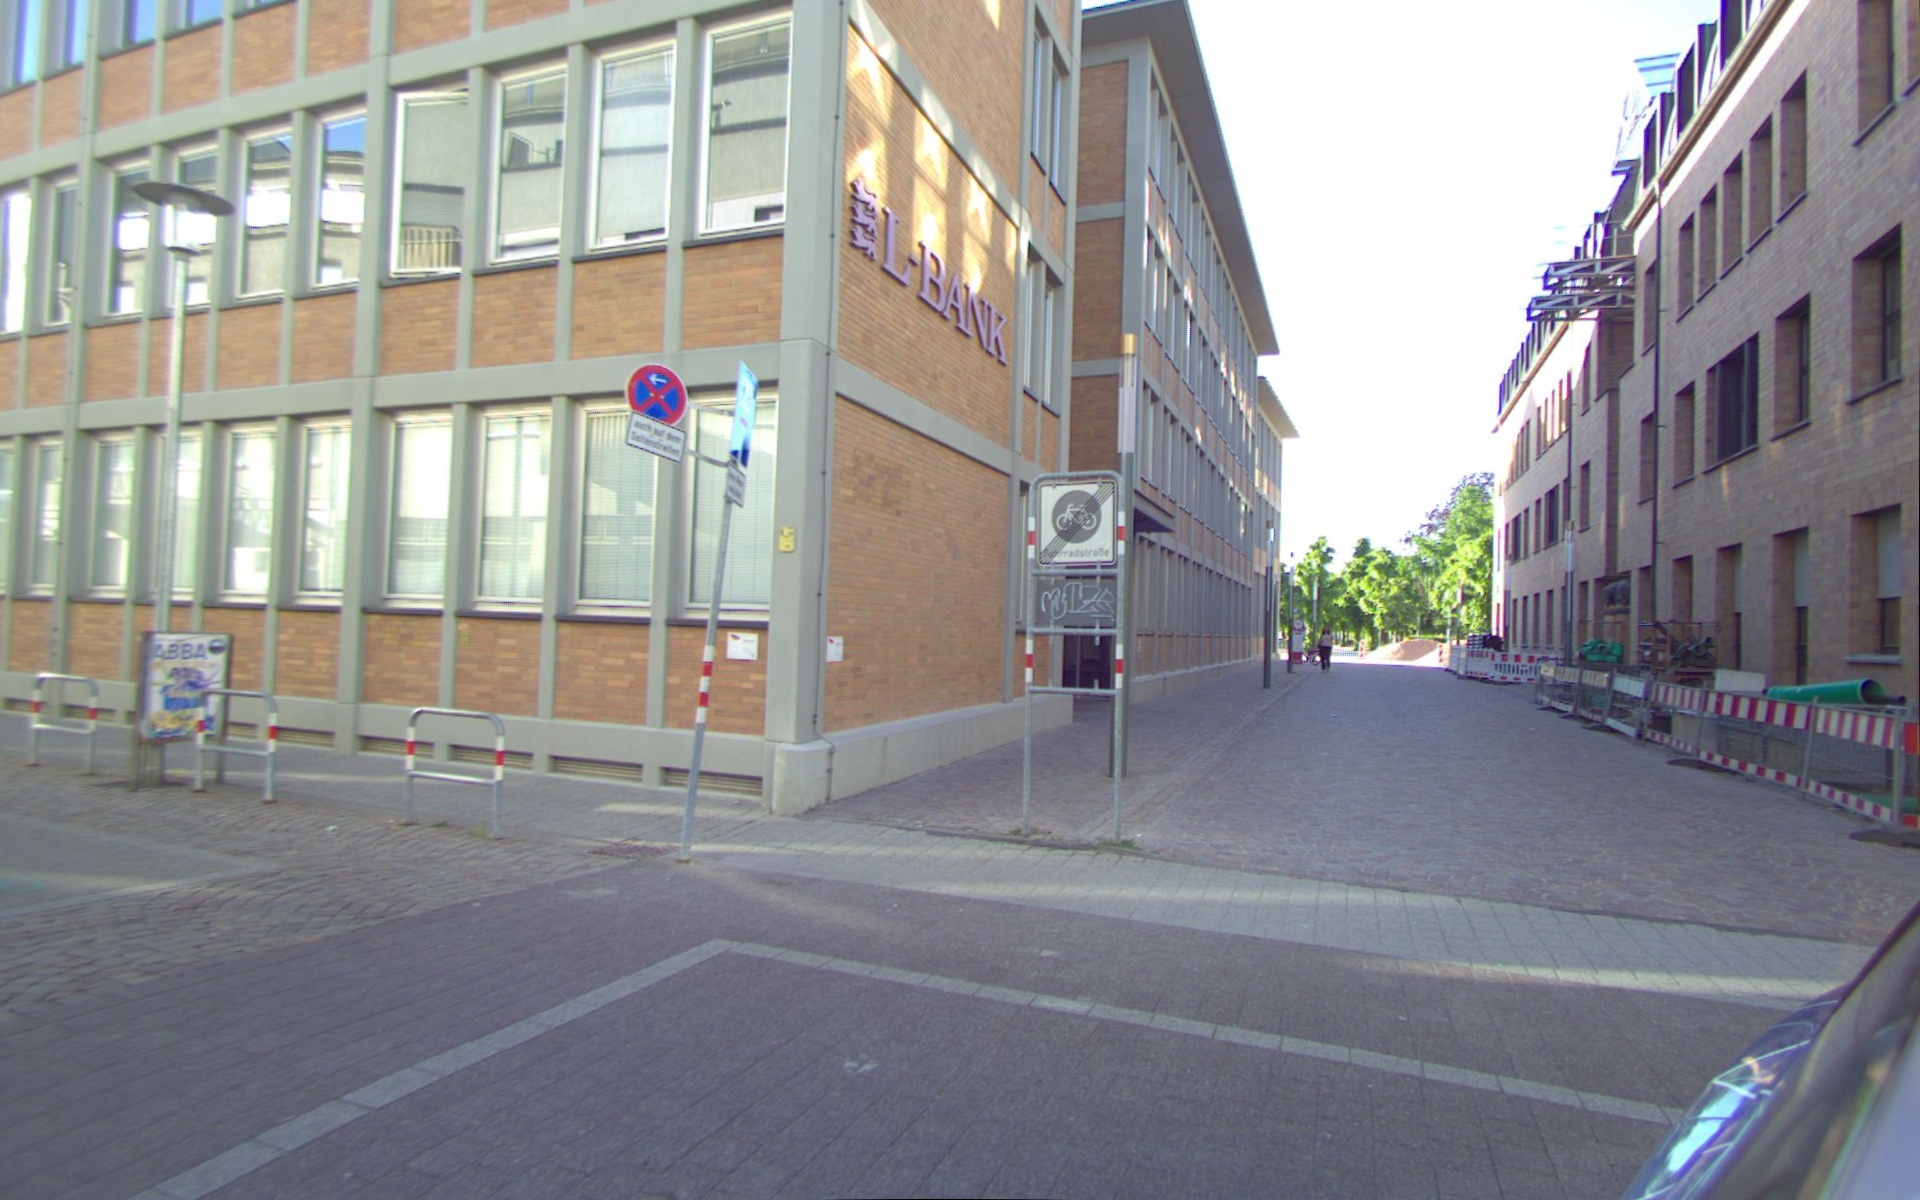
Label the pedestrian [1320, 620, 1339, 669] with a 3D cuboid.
[{"bbox_3d":[13.924,1.672,38.106,0.631,1.809,0.647,1,-4,21],"label":"pedestrian"}]
